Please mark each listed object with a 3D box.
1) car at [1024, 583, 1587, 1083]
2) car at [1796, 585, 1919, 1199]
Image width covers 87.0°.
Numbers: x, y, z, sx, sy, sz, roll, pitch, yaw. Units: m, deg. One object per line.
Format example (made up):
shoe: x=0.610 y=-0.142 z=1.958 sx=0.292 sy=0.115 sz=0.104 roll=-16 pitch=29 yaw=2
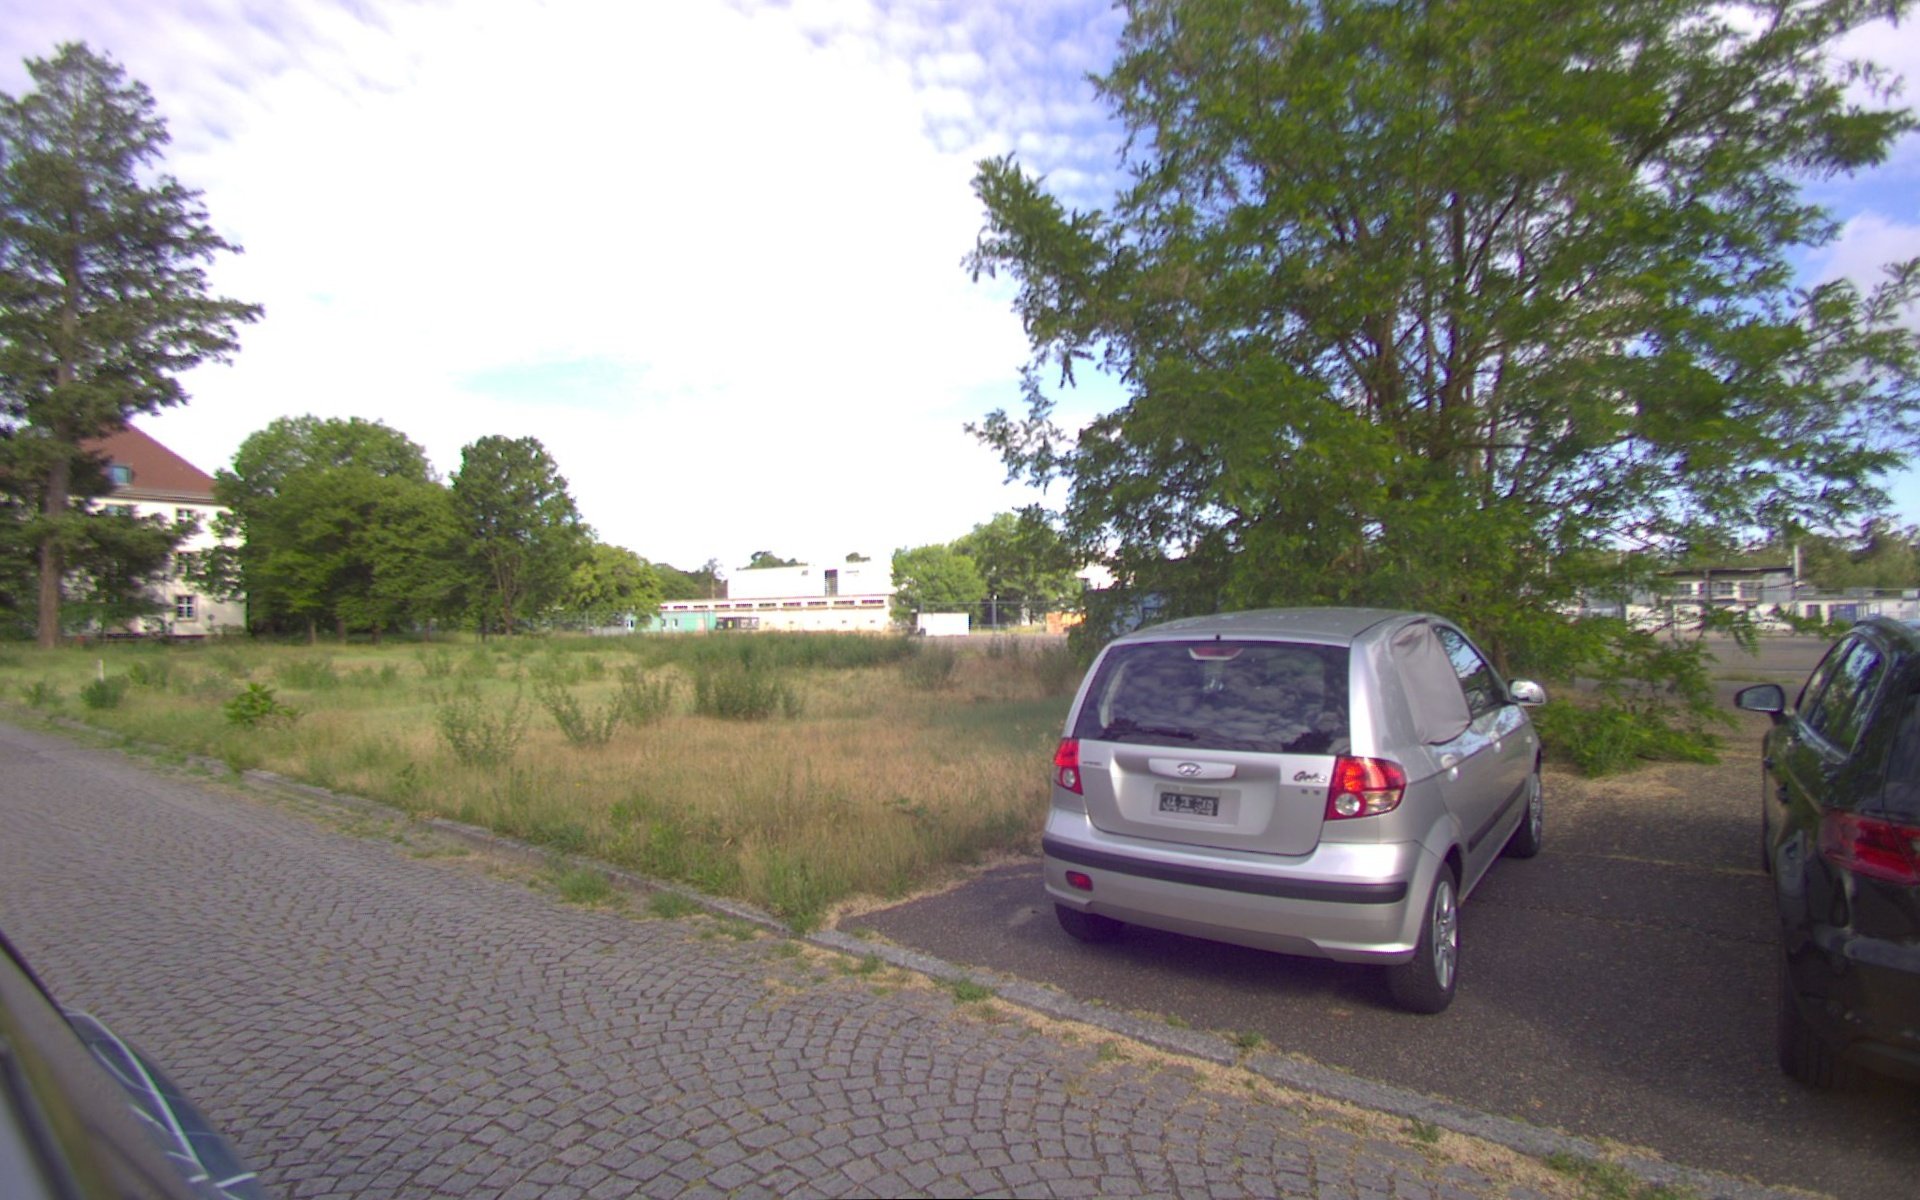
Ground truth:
car: x=1.994 y=0.723 z=5.084 sx=1.644 sy=1.486 sz=3.544 roll=-2 pitch=1 yaw=37
car: x=4.039 y=0.687 z=3.471 sx=1.693 sy=1.419 sz=3.799 roll=-2 pitch=1 yaw=39
